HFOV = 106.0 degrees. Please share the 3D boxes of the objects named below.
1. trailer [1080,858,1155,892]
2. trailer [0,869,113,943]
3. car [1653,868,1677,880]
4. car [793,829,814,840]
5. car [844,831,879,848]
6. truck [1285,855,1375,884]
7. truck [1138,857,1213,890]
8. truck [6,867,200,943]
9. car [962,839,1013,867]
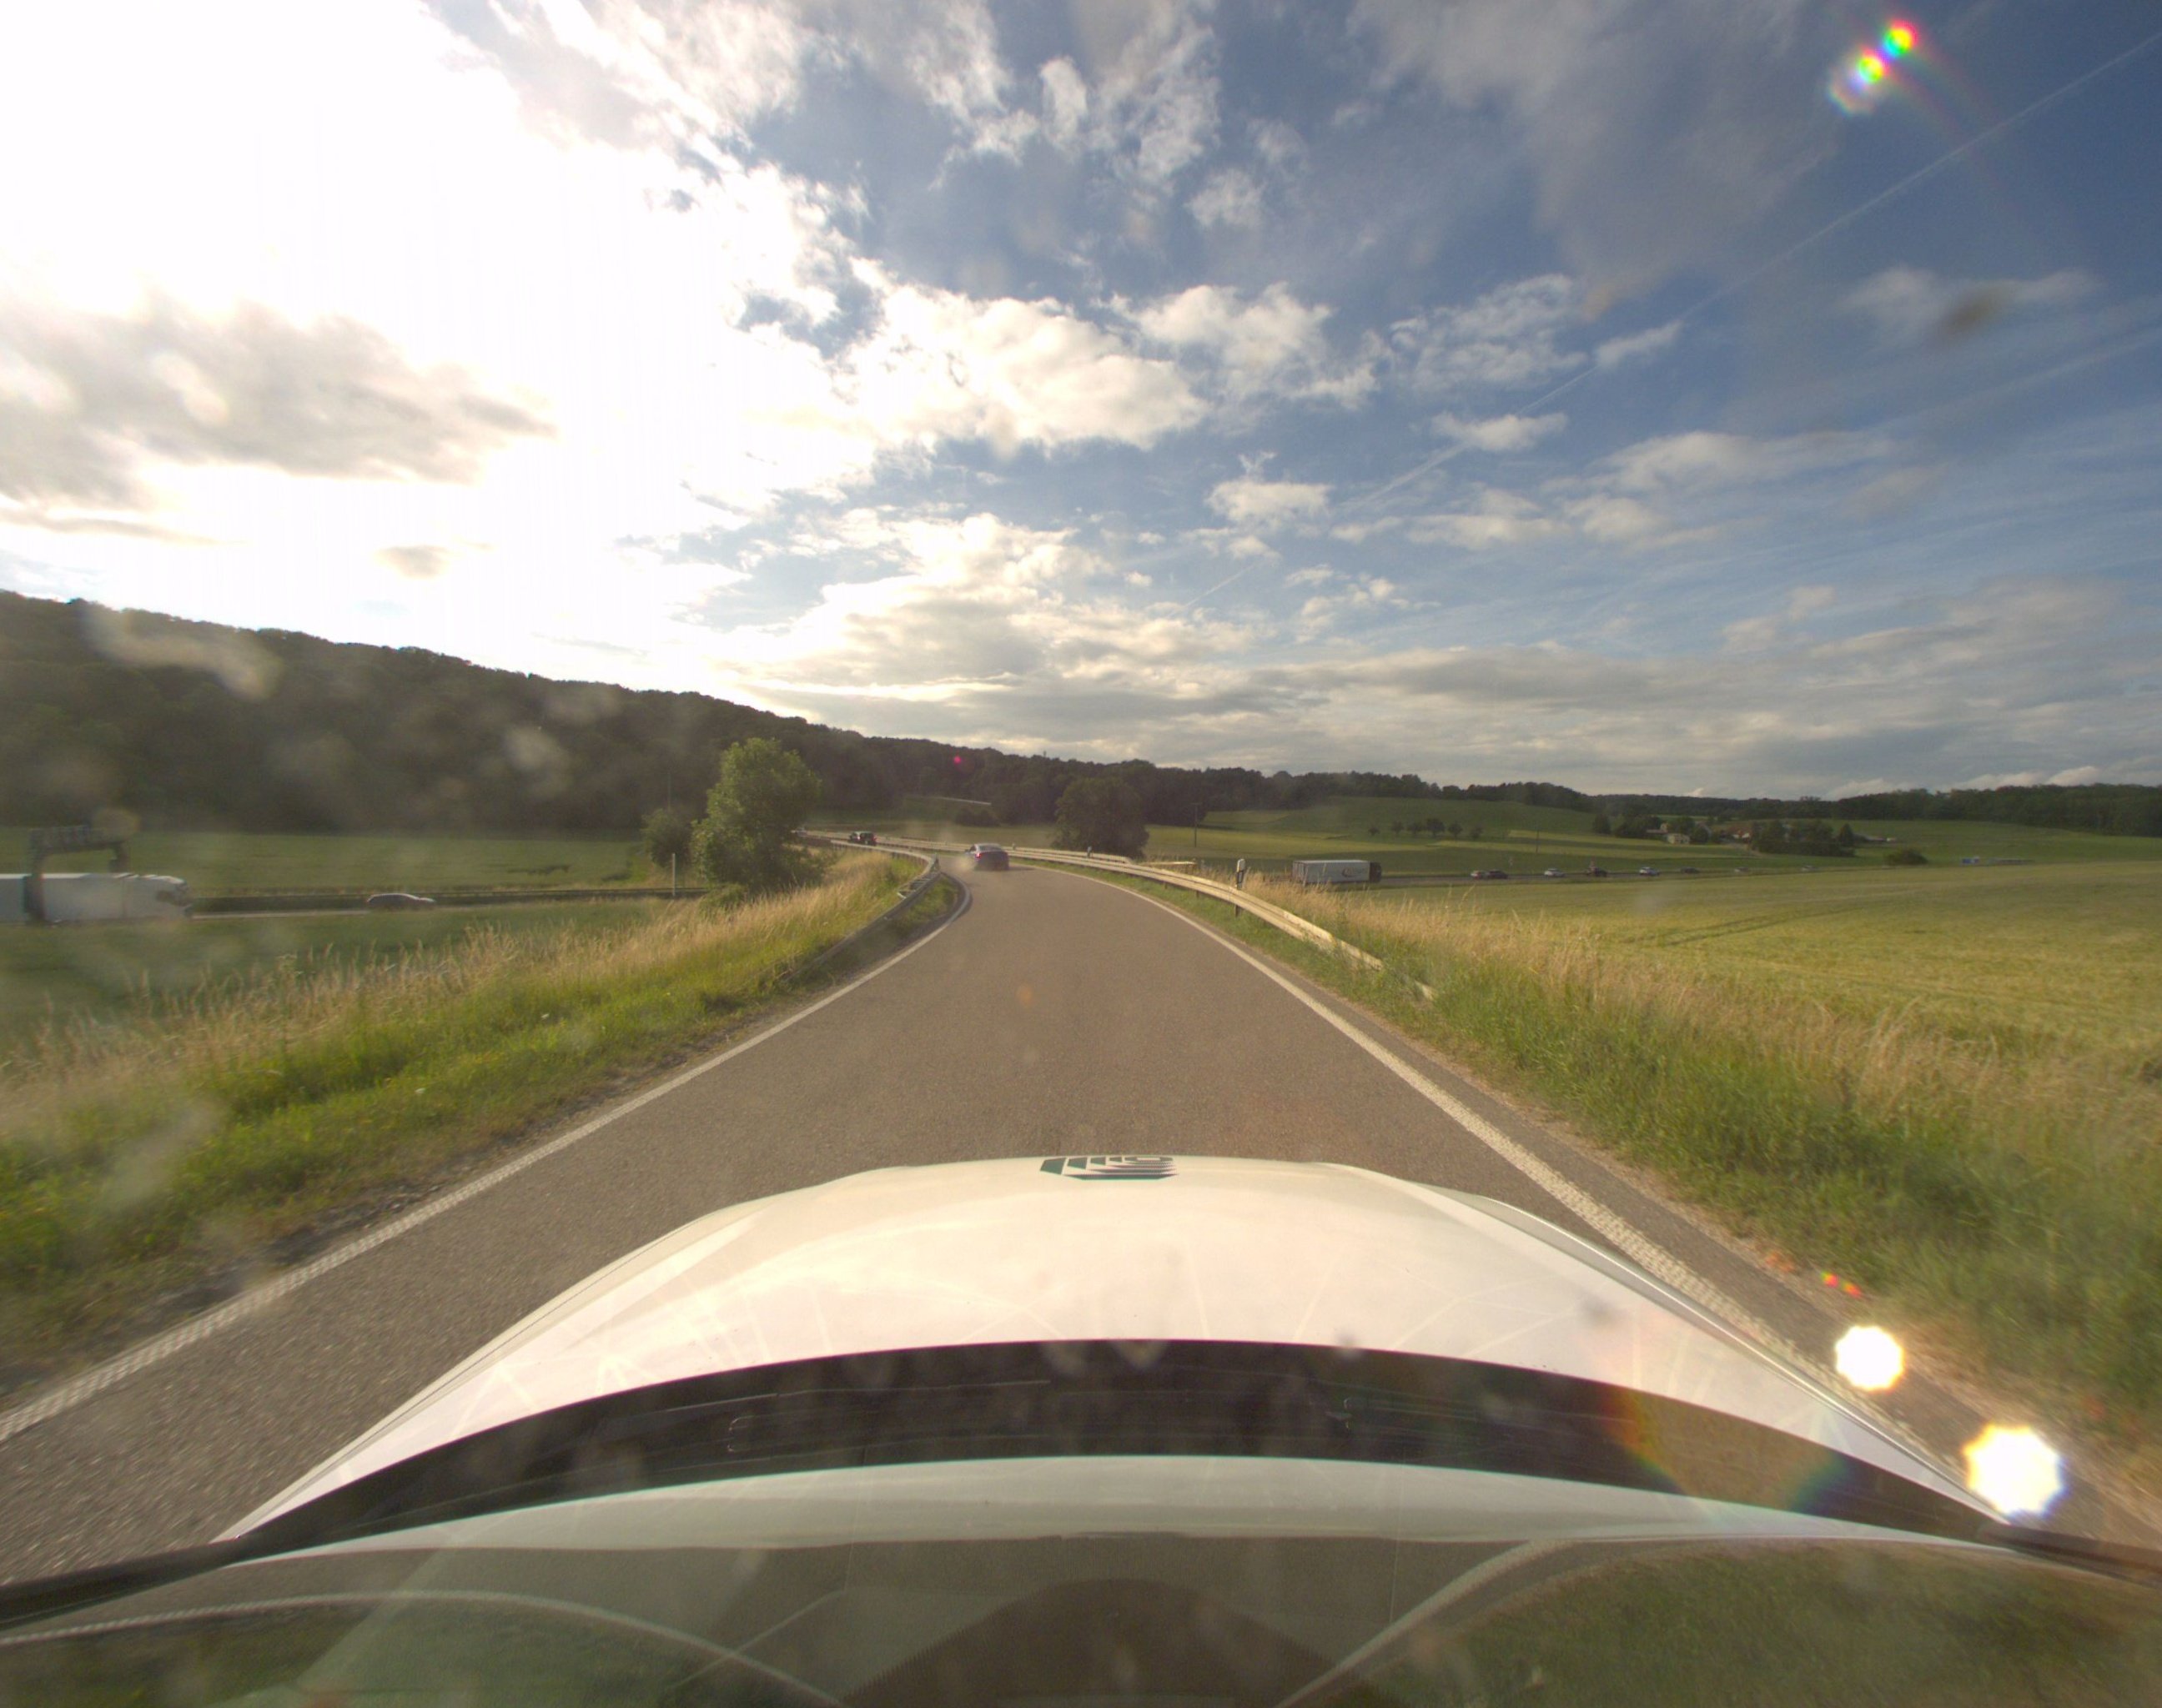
[{"bbox_3d":[4.707,2.600,104.740,9.159,4.060,3.800,0,1,-32],"label":"trailer"},{"bbox_3d":[-74.208,3.607,53.730,12.780,4.465,3.001,-1,6,-35],"label":"trailer"},{"bbox_3d":[108.880,3.721,151.812,4.007,2.014,1.983,-1,-1,-25],"label":"car"},{"bbox_3d":[-34.878,-2.461,102.230,1.693,1.376,3.961,-1,3,-32],"label":"car"},{"bbox_3d":[-20.750,-1.373,77.035,1.876,1.568,3.956,0,1,-37],"label":"car"},{"bbox_3d":[37.593,2.265,122.638,14.464,3.997,4.041,-1,-1,-29],"label":"truck"},{"bbox_3d":[12.733,2.527,109.674,9.834,4.060,3.800,0,1,-32],"label":"truck"},{"bbox_3d":[-68.716,3.456,57.602,8.089,4.465,2.999,-1,6,-35],"label":"truck"},{"bbox_3d":[-5.034,-0.085,43.215,1.824,1.339,4.323,-2,2,-18],"label":"car"}]
